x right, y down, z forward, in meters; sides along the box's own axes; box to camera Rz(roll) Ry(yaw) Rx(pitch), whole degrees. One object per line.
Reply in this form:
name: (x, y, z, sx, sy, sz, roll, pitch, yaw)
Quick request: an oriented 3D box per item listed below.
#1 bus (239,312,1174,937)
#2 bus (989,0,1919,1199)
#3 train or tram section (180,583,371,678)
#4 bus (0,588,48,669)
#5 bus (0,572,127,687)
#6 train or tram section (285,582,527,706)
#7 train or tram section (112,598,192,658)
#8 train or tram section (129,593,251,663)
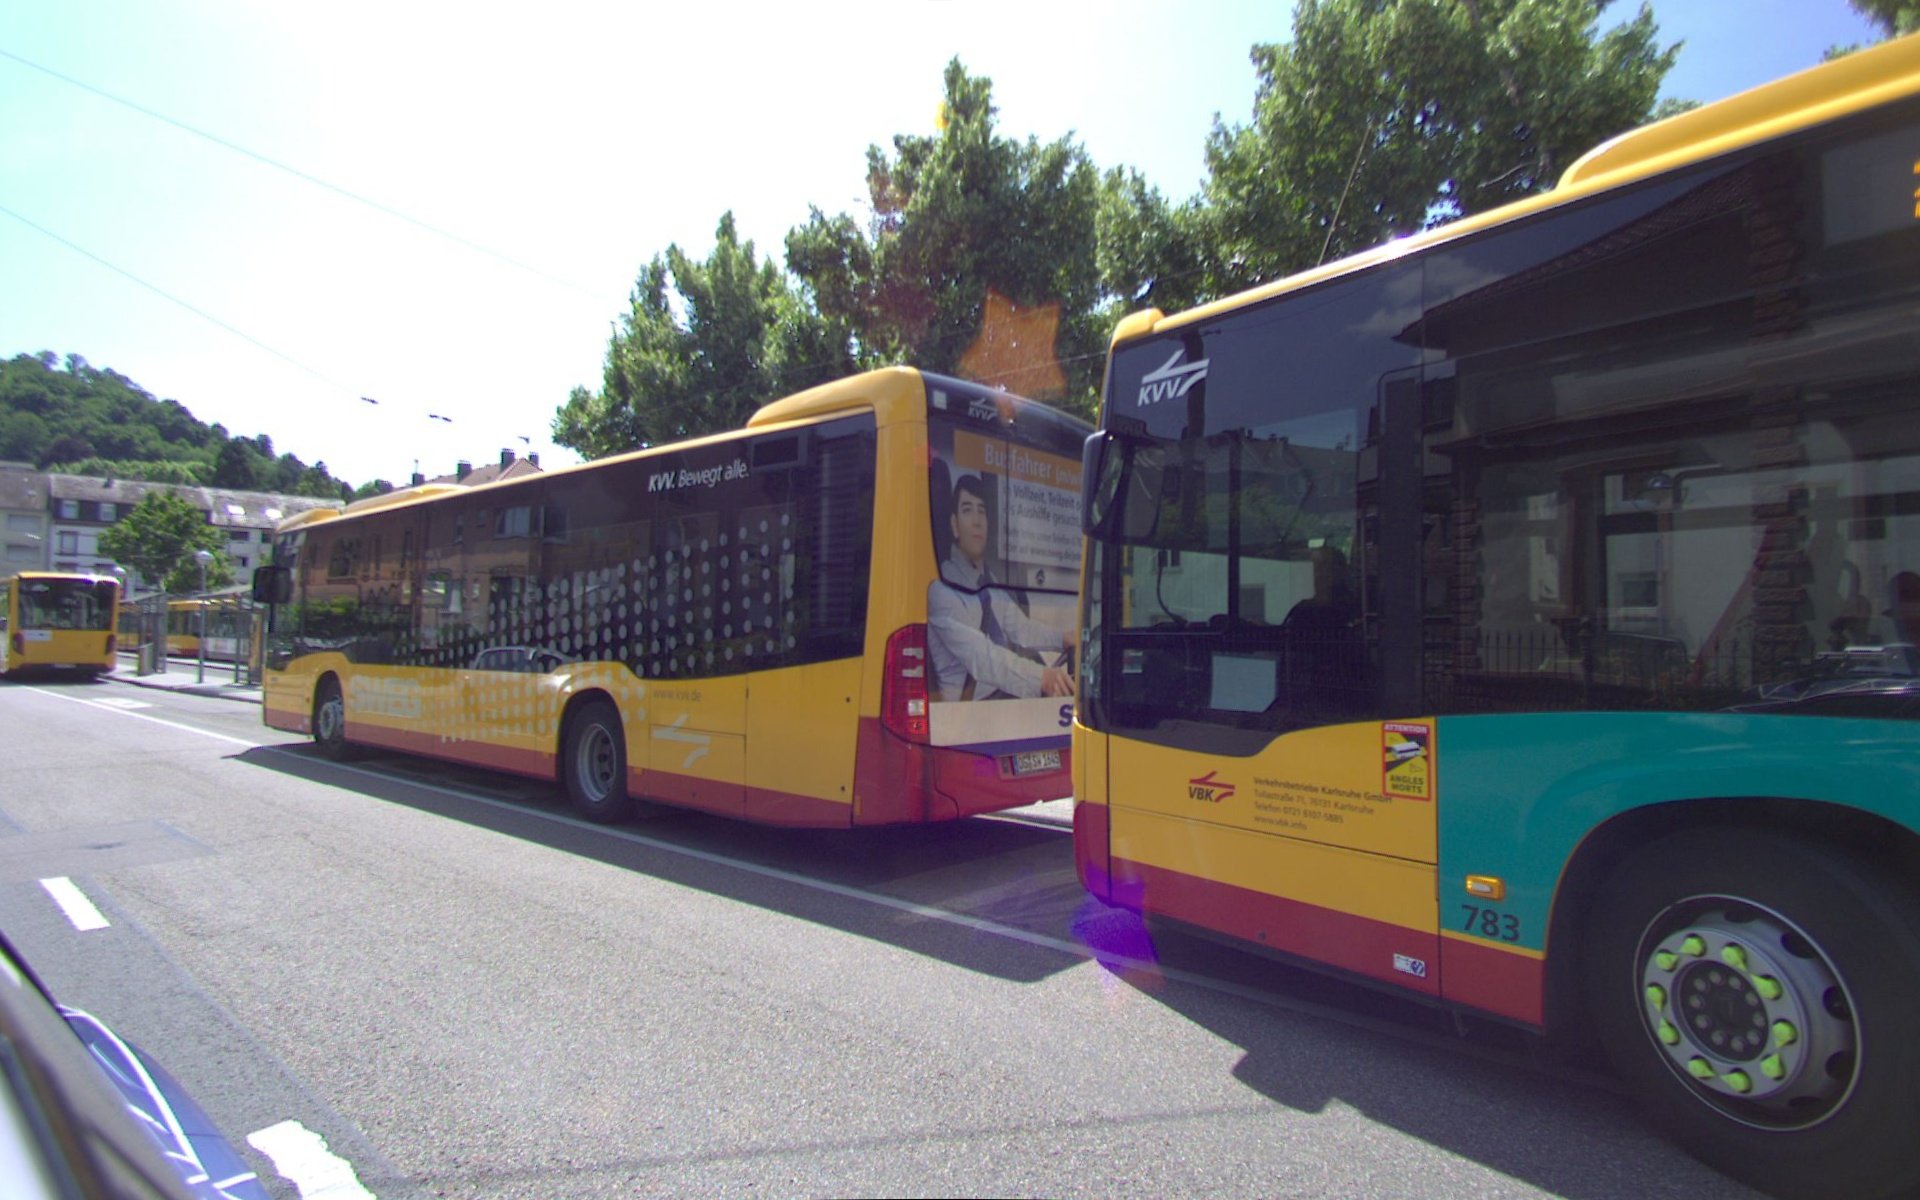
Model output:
bus: (-3.925, 0.203, 10.375, 12.111, 3.272, 2.877, -1, -1, 41)
bus: (4.972, -0.272, 0.743, 2.743, 3.233, 12.332, 0, -2, -37)
train or tram section: (-31.611, 1.299, 46.083, 17.344, 3.670, 2.932, -1, -1, 41)
bus: (-45.503, 1.373, 47.236, 12.032, 3.453, 2.878, -2, -2, 41)
bus: (-31.100, 0.829, 34.100, 12.193, 3.272, 2.867, 0, 0, 42)
train or tram section: (-20.041, 1.399, 35.837, 13.987, 3.670, 2.932, -1, -1, 41)
train or tram section: (-49.027, 1.715, 61.383, 4.415, 3.522, 2.932, -1, -4, 41)
train or tram section: (-42.712, 1.478, 55.887, 12.651, 3.522, 2.932, -1, -1, 41)
